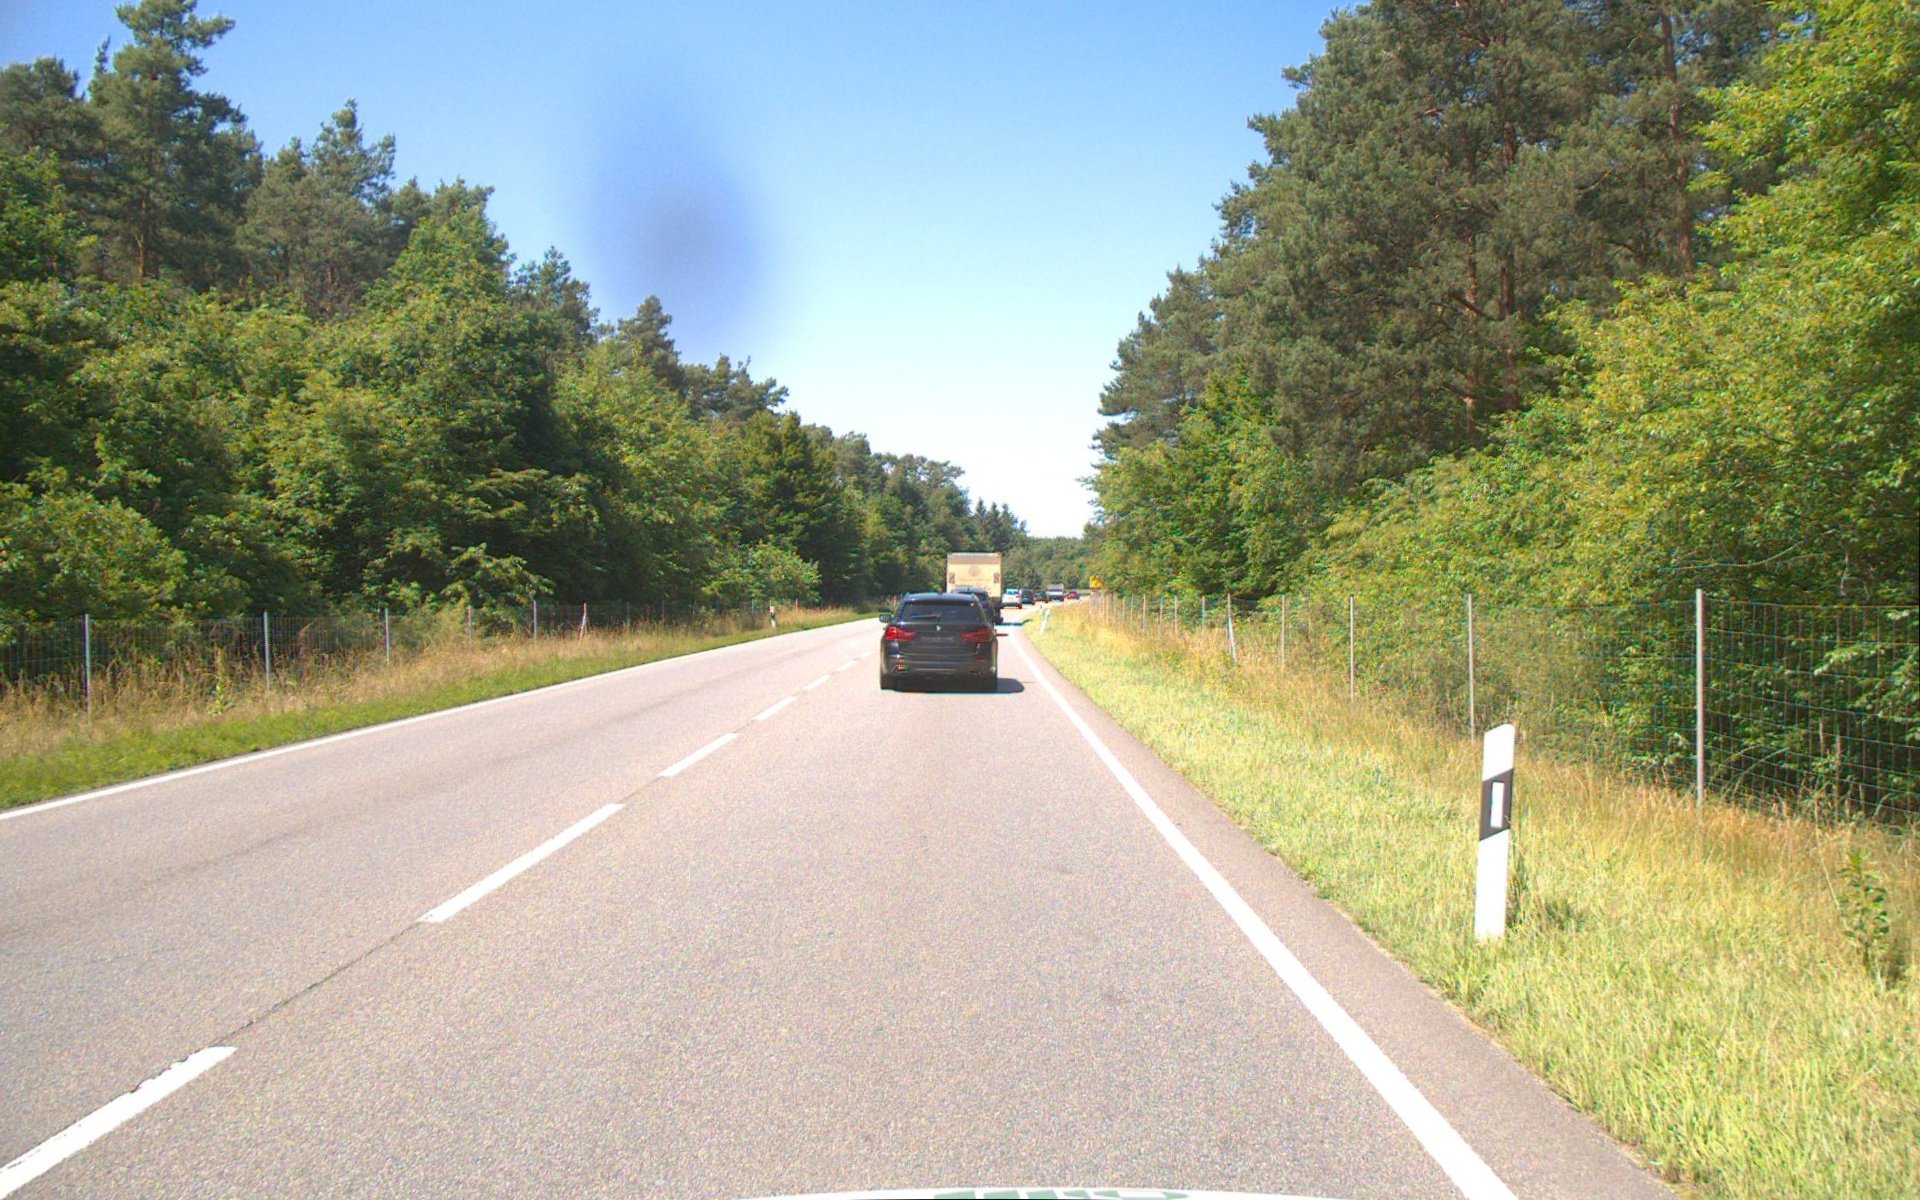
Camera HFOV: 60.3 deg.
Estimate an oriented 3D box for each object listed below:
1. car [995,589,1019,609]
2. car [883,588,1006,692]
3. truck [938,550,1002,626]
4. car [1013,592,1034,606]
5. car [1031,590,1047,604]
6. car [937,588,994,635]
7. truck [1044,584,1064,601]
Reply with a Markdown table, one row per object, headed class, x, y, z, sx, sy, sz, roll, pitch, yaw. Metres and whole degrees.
| class | x | y | z | sx | sy | sz | roll | pitch | yaw |
| --- | --- | --- | --- | --- | --- | --- | --- | --- | --- |
| car | 4.007 | -0.066 | 142.090 | 1.825 | 1.633 | 3.999 | -1 | 0 | -1 |
| car | -0.325 | 0.577 | 26.485 | 1.784 | 1.496 | 3.998 | 1 | 0 | -3 |
| truck | 0.494 | -0.589 | 78.364 | 2.904 | 3.447 | 6.439 | 0 | 0 | 1 |
| car | 6.667 | -0.084 | 173.968 | 1.953 | 1.445 | 3.999 | 1 | 1 | -1 |
| car | 9.724 | -0.401 | 203.667 | 1.952 | 1.665 | 4.001 | -1 | 0 | 2 |
| car | 0.147 | 0.371 | 58.386 | 1.908 | 1.568 | 3.999 | -1 | 0 | -1 |
| truck | 12.972 | -1.080 | 228.263 | 2.509 | 2.240 | 4.977 | -1 | 1 | 5 |
